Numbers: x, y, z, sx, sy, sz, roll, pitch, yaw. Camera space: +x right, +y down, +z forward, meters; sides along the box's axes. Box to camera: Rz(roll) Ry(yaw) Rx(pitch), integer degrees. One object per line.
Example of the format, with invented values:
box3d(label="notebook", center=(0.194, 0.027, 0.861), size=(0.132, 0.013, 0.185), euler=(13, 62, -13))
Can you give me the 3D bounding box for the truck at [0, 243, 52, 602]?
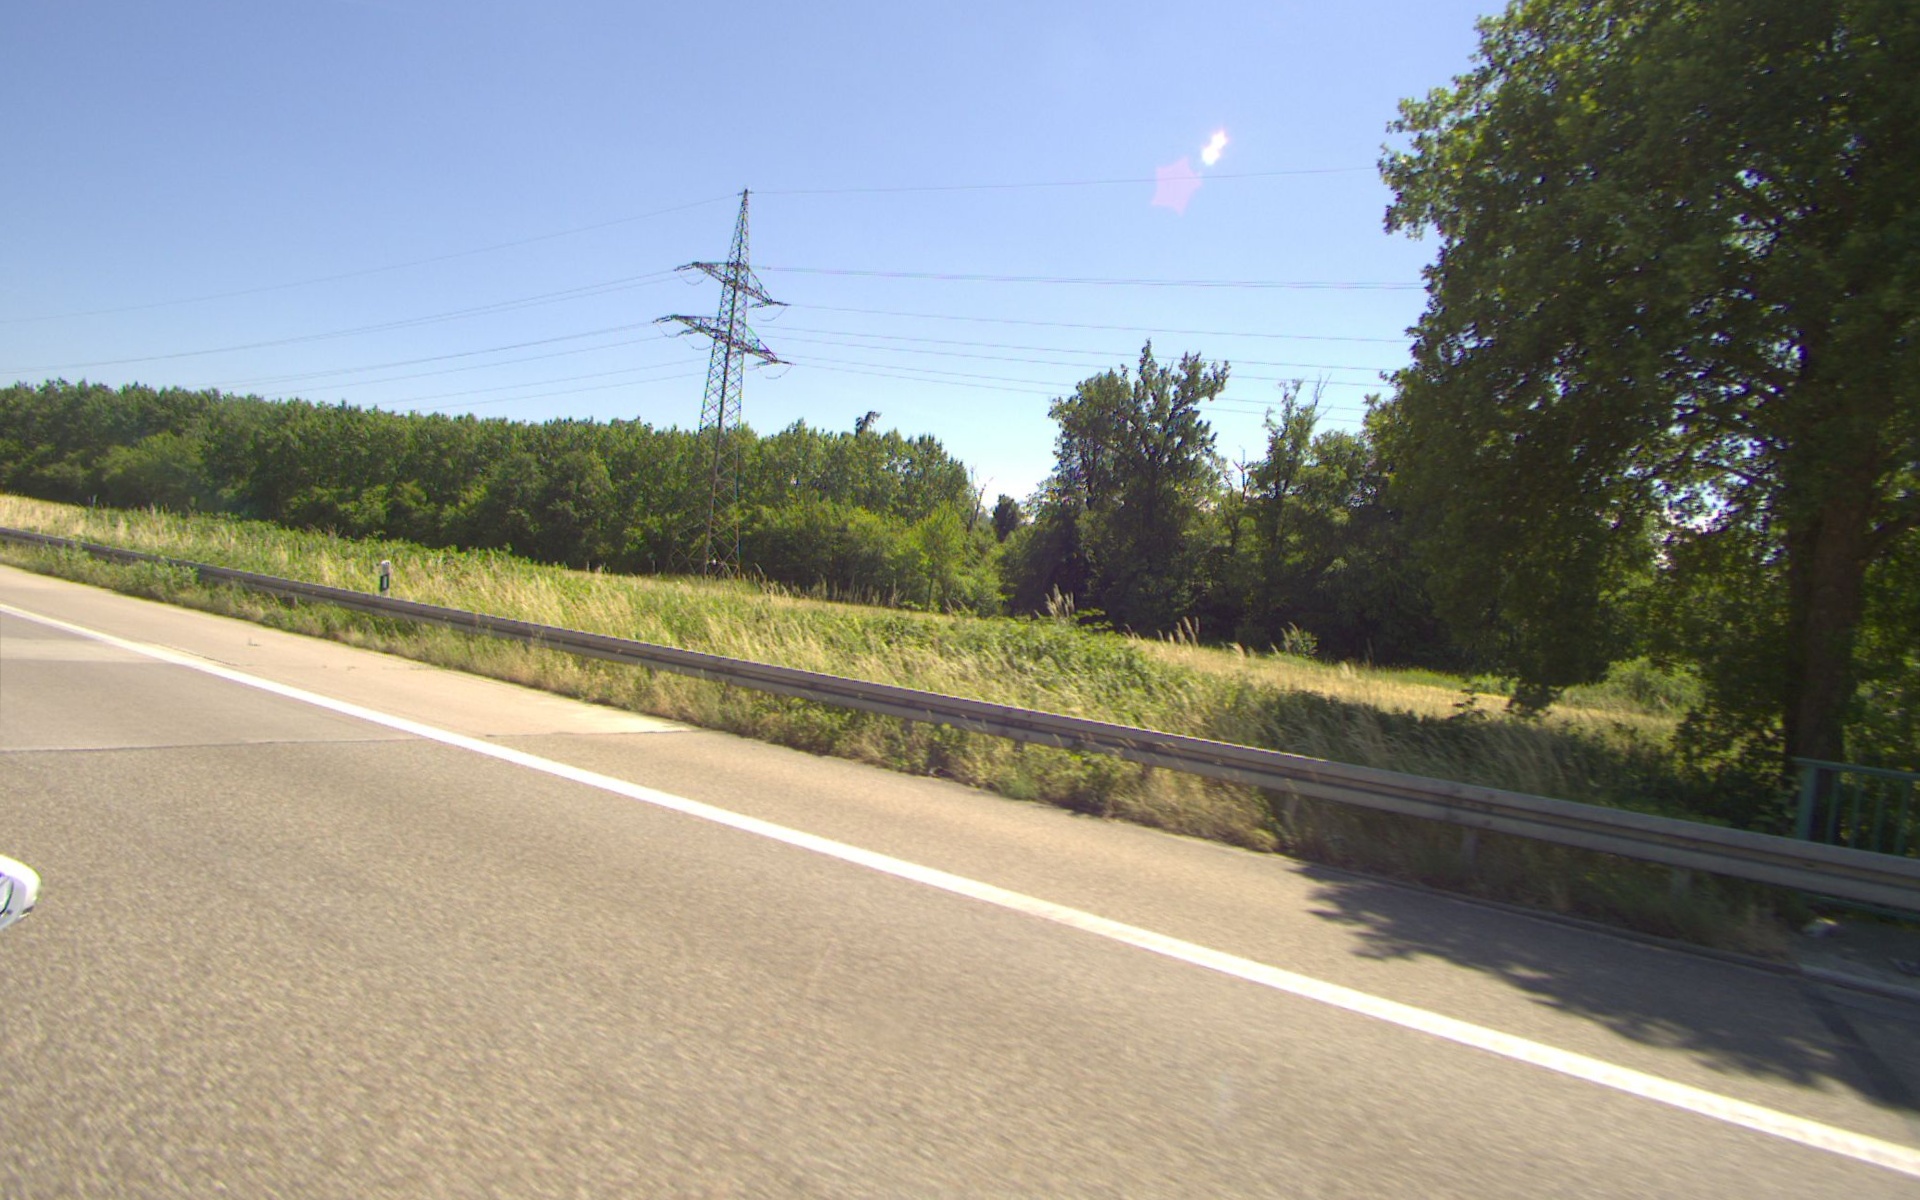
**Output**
box3d(label="truck", center=(-24.212, -4.017, 20.156), size=(17.941, 5.858, 3.582), euler=(8, 0, 31))
